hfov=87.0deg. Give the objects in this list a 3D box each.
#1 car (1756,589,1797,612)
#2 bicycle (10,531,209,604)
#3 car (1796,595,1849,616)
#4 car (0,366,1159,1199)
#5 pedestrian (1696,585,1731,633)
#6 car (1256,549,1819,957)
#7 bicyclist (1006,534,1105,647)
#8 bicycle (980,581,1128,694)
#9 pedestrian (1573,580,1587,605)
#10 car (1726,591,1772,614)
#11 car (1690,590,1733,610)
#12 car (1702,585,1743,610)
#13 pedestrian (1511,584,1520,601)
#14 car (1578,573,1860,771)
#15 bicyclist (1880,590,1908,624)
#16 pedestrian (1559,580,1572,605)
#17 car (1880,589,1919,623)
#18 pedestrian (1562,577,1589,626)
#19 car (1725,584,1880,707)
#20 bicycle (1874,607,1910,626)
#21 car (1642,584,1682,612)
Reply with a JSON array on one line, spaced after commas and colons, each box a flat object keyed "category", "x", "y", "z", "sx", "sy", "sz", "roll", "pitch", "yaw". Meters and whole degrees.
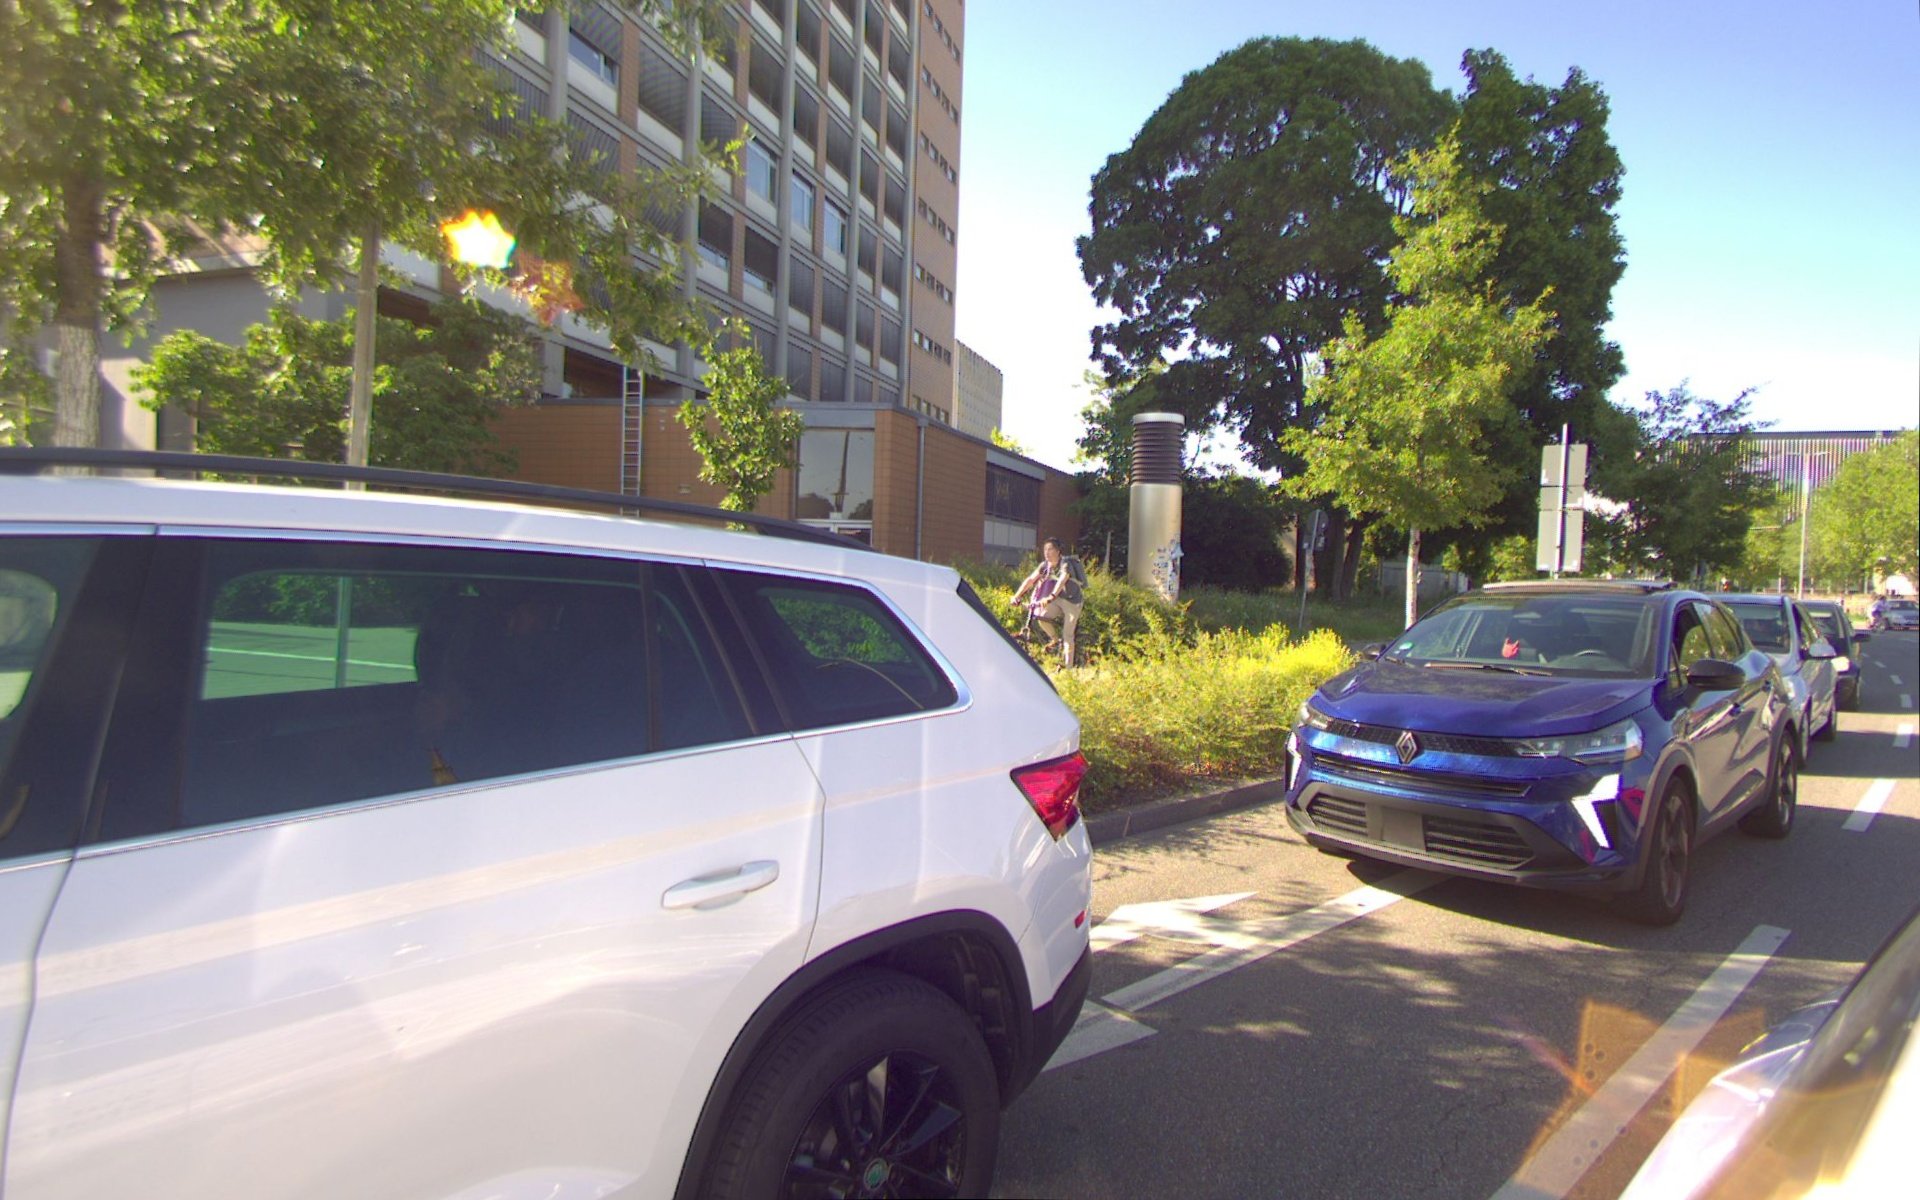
[{"category": "car", "x": 60.942, "y": 0.028, "z": 75.560, "sx": 1.578, "sy": 1.625, "sz": 3.048, "roll": 2, "pitch": 1, "yaw": 23}, {"category": "bicycle", "x": -17.545, "y": -0.661, "z": 21.019, "sx": 0.790, "sy": 1.394, "sz": 3.111, "roll": 2, "pitch": 1, "yaw": 26}, {"category": "car", "x": 55.831, "y": 0.359, "z": 65.562, "sx": 1.569, "sy": 1.219, "sz": 3.966, "roll": 2, "pitch": 2, "yaw": 25}, {"category": "car", "x": -1.666, "y": 0.556, "z": 1.633, "sx": 4.223, "sy": 1.662, "sz": 1.697, "roll": 0, "pitch": 2, "yaw": -42}, {"category": "pedestrian", "x": 26.150, "y": 0.297, "z": 35.147, "sx": 0.681, "sy": 1.624, "sz": 0.661, "roll": 2, "pitch": 1, "yaw": 5}, {"category": "car", "x": 3.621, "y": 0.595, "z": 6.012, "sx": 4.013, "sy": 1.626, "sz": 1.703, "roll": 0, "pitch": 1, "yaw": -42}, {"category": "bicyclist", "x": 1.152, "y": -0.124, "z": 12.219, "sx": 0.891, "sy": 1.294, "sz": 0.722, "roll": 1, "pitch": 3, "yaw": -41}, {"category": "bicycle", "x": 1.163, "y": 0.425, "z": 12.256, "sx": 1.803, "sy": 1.232, "sz": 0.691, "roll": 0, "pitch": 3, "yaw": -42}, {"category": "pedestrian", "x": 49.199, "y": -0.609, "z": 80.267, "sx": 0.812, "sy": 1.941, "sz": 0.767, "roll": 0, "pitch": 0, "yaw": 20}, {"category": "car", "x": 50.535, "y": 0.153, "z": 64.874, "sx": 1.737, "sy": 1.396, "sz": 3.539, "roll": 1, "pitch": 1, "yaw": 28}, {"category": "car", "x": 58.801, "y": 0.014, "z": 79.246, "sx": 1.862, "sy": 1.500, "sz": 3.967, "roll": 1, "pitch": 1, "yaw": 24}, {"category": "car", "x": 64.809, "y": -0.259, "z": 86.074, "sx": 1.767, "sy": 2.039, "sz": 4.201, "roll": 1, "pitch": 1, "yaw": 22}, {"category": "pedestrian", "x": 64.232, "y": -0.874, "z": 117.040, "sx": 0.812, "sy": 1.941, "sz": 0.766, "roll": 0, "pitch": 0, "yaw": 23}, {"category": "car", "x": 8.058, "y": 0.592, "z": 10.609, "sx": 3.977, "sy": 1.645, "sz": 1.782, "roll": 0, "pitch": 2, "yaw": -45}, {"category": "bicyclist", "x": 44.337, "y": 0.314, "z": 48.036, "sx": 0.686, "sy": 1.578, "sz": 0.811, "roll": 0, "pitch": 0, "yaw": 17}, {"category": "pedestrian", "x": 48.414, "y": -0.615, "z": 80.919, "sx": 0.812, "sy": 1.941, "sz": 0.767, "roll": 0, "pitch": 0, "yaw": 20}, {"category": "car", "x": 49.571, "y": 0.294, "z": 52.581, "sx": 1.507, "sy": 1.700, "sz": 3.357, "roll": -1, "pitch": 0, "yaw": 21}, {"category": "pedestrian", "x": 20.945, "y": 0.041, "z": 34.437, "sx": 0.688, "sy": 1.624, "sz": 0.653, "roll": 2, "pitch": 1, "yaw": 35}, {"category": "car", "x": 13.109, "y": 0.613, "z": 15.680, "sx": 1.646, "sy": 1.631, "sz": 3.435, "roll": 3, "pitch": 2, "yaw": 43}, {"category": "bicycle", "x": 44.327, "y": 0.778, "z": 48.164, "sx": 0.582, "sy": 0.900, "sz": 1.646, "roll": 0, "pitch": 0, "yaw": 17}, {"category": "car", "x": 50.941, "y": -0.168, "z": 73.530, "sx": 1.811, "sy": 1.876, "sz": 3.717, "roll": 2, "pitch": 1, "yaw": 27}]
